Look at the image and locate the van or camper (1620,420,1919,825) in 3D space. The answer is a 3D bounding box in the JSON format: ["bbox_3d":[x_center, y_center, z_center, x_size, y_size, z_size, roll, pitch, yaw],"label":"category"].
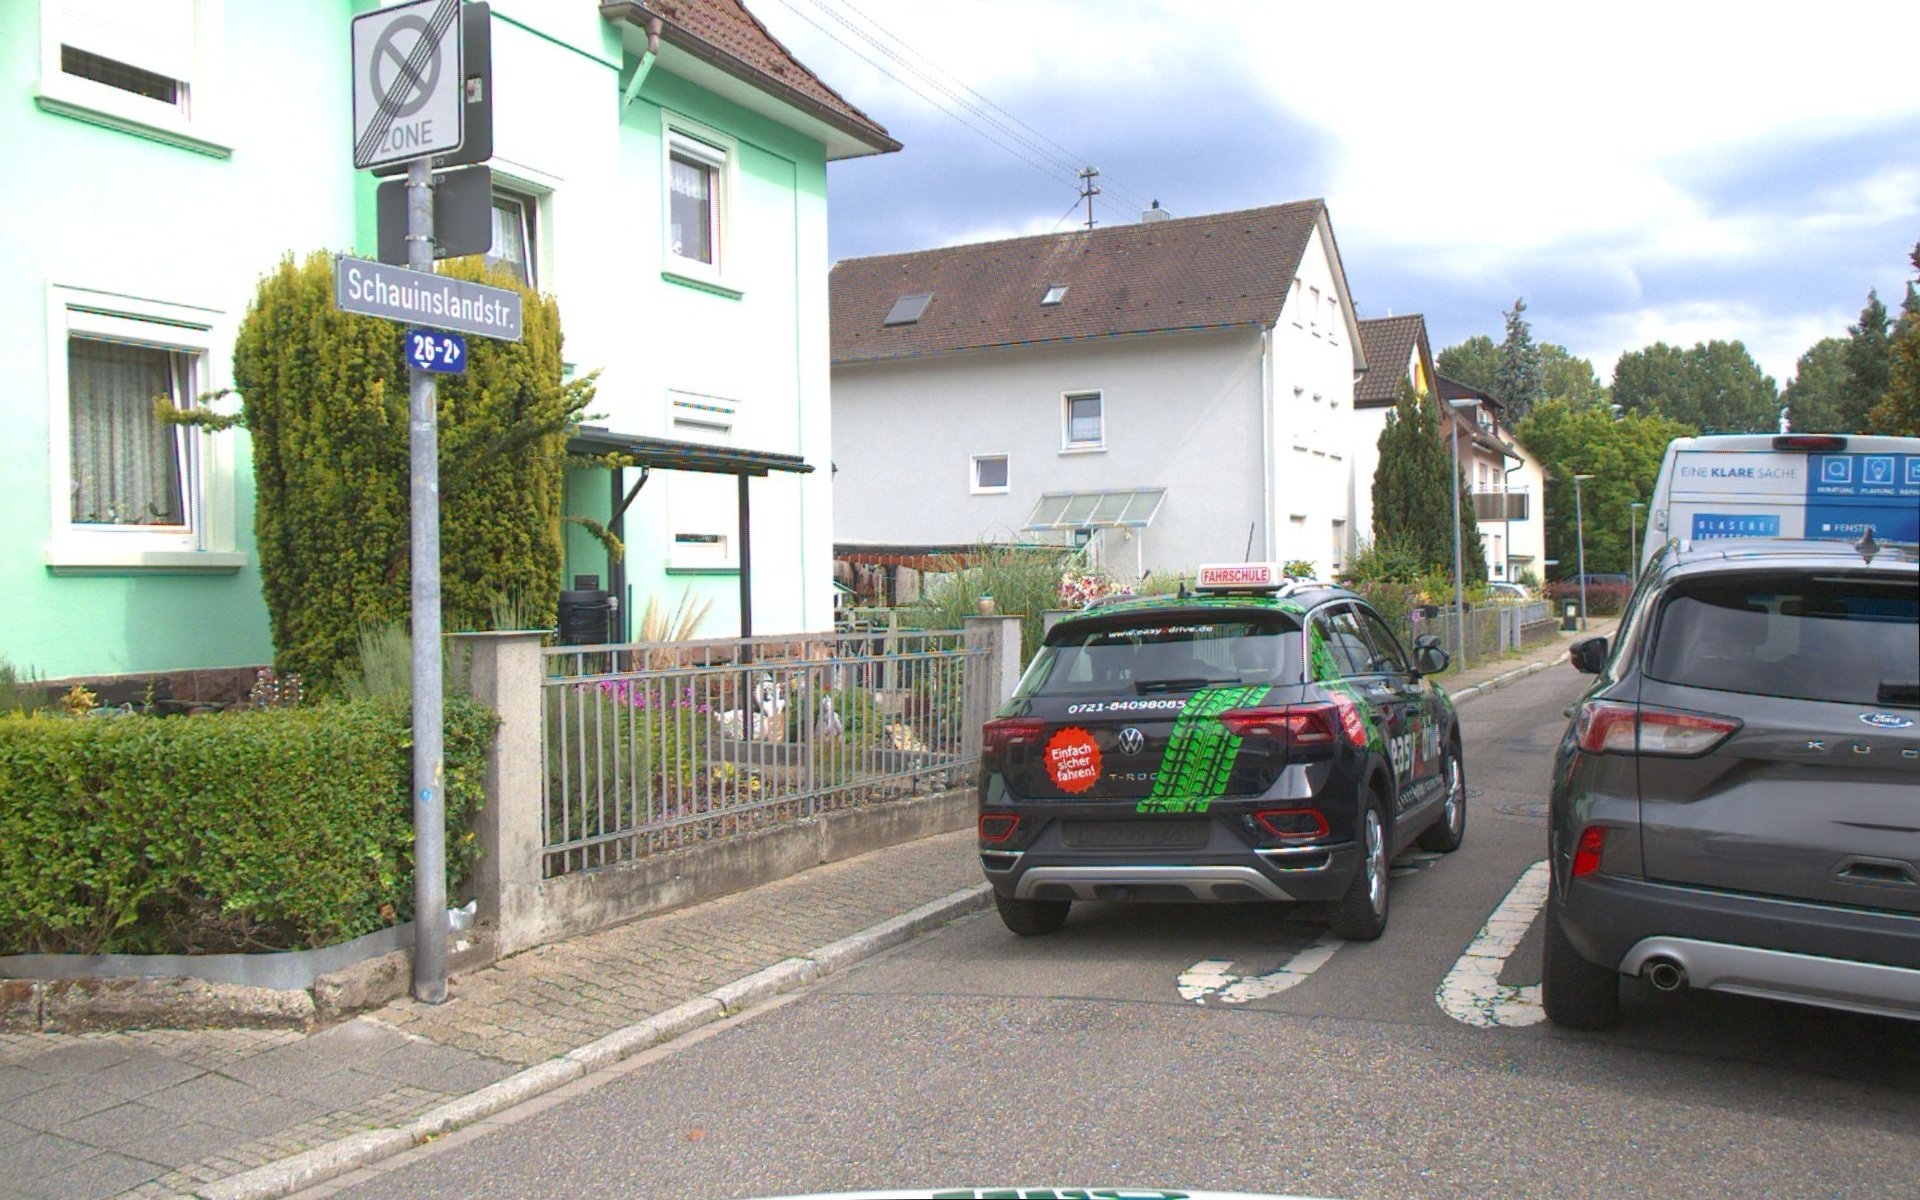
[{"bbox_3d":[6.437,0.109,12.766,2.148,2.502,5.051,-1,0,25],"label":"van or camper"}]

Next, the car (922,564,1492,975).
[{"bbox_3d":[1.512,0.662,8.451,1.780,1.546,4.041,-3,-1,25],"label":"car"}]

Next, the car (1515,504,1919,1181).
[{"bbox_3d":[3.339,0.592,6.280,1.953,1.757,4.340,-1,0,23],"label":"car"}]

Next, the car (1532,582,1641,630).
[{"bbox_3d":[24.716,0.258,65.238,3.906,1.803,1.869,-1,-1,23],"label":"car"}]

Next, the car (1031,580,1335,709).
[{"bbox_3d":[2.825,0.562,20.915,3.498,1.527,1.587,-1,0,22],"label":"car"}]

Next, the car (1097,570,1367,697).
[{"bbox_3d":[3.876,0.487,23.514,3.498,1.696,1.587,-1,0,22],"label":"car"}]

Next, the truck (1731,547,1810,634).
[{"bbox_3d":[26.740,-0.340,54.685,2.087,2.703,4.583,-1,0,24],"label":"truck"}]
